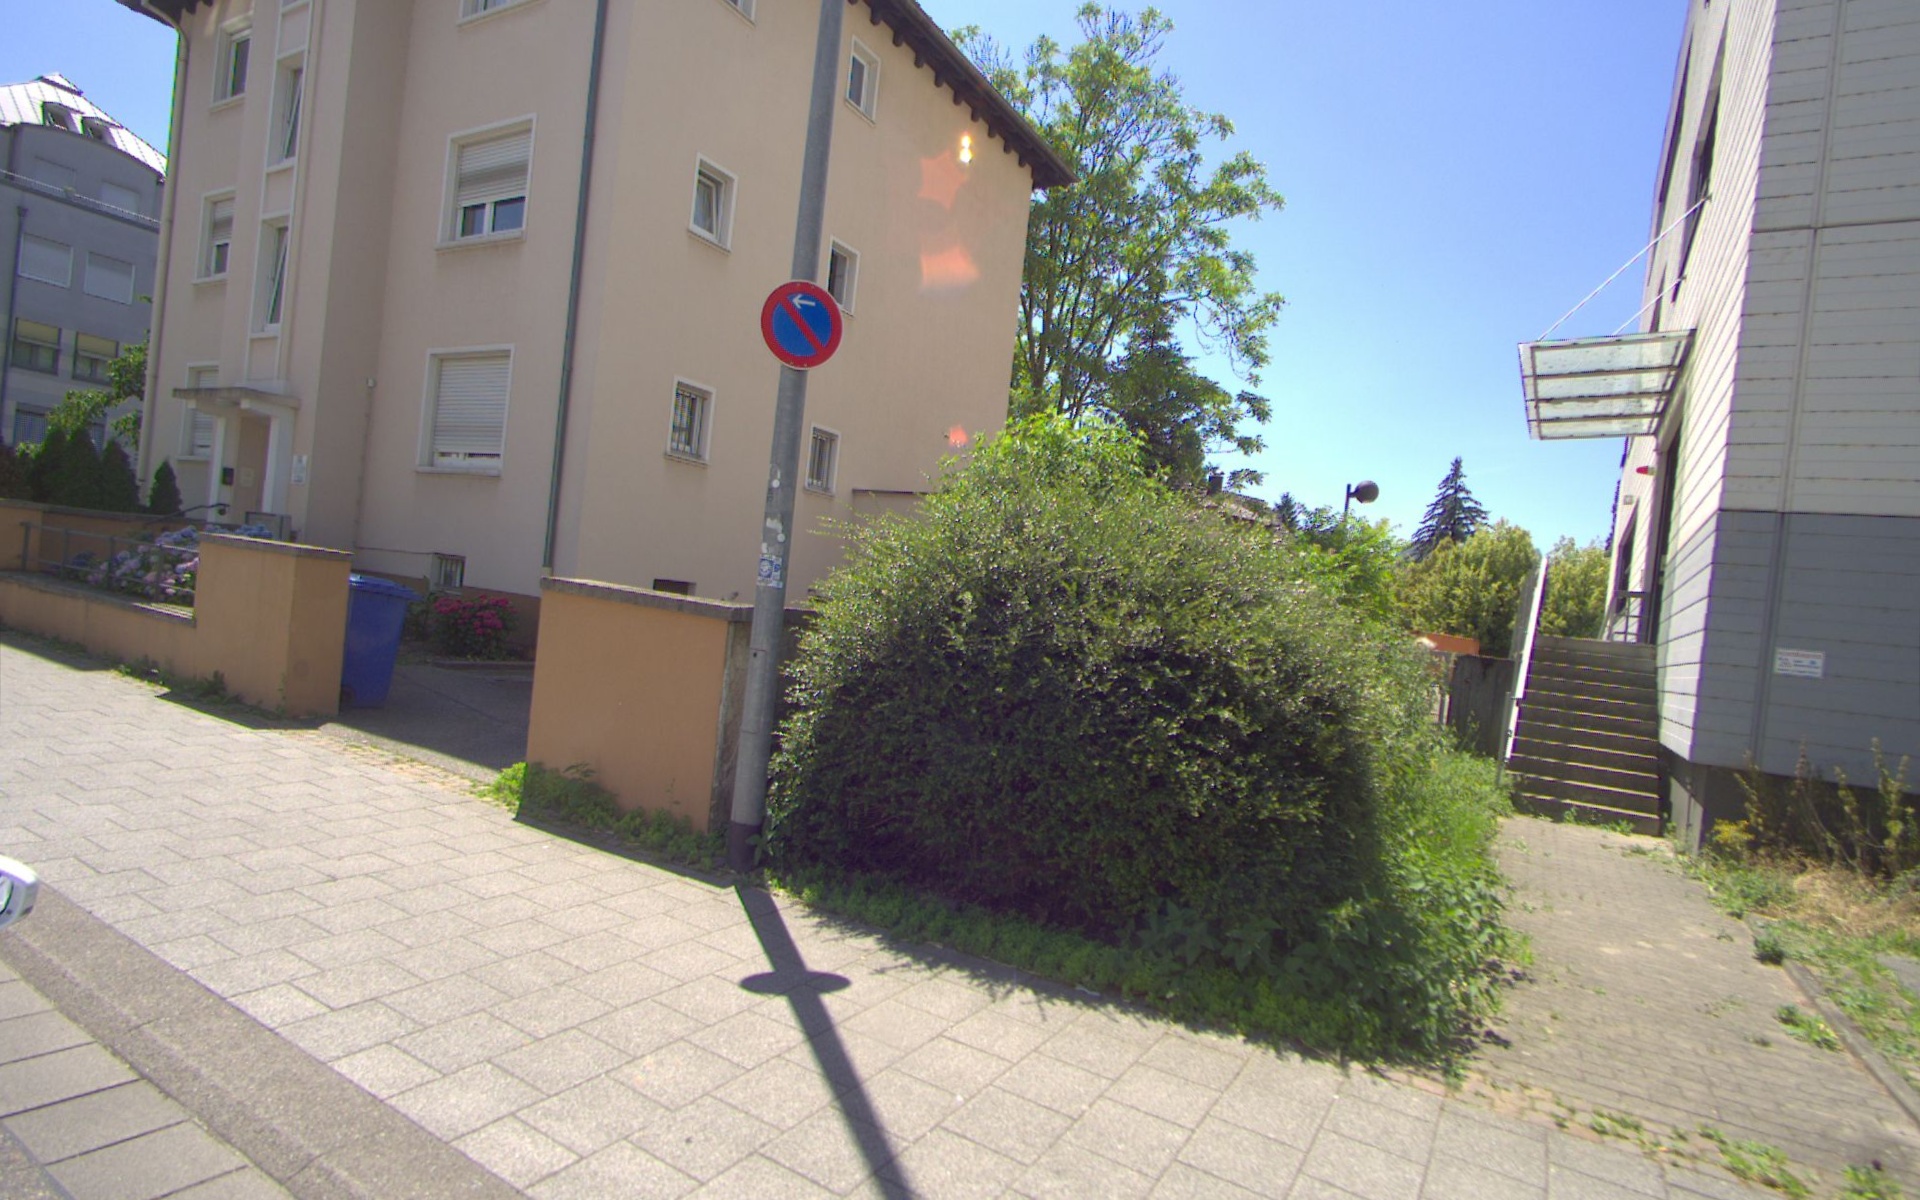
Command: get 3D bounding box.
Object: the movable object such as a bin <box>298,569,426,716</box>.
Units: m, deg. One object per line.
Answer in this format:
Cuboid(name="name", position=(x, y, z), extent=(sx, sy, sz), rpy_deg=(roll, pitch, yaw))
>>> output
Cuboid(name="movable object such as a bin", position=(-4.934, 0.348, 8.306), extent=(0.622, 1.114, 0.625), rpy_deg=(7, 1, 34))
